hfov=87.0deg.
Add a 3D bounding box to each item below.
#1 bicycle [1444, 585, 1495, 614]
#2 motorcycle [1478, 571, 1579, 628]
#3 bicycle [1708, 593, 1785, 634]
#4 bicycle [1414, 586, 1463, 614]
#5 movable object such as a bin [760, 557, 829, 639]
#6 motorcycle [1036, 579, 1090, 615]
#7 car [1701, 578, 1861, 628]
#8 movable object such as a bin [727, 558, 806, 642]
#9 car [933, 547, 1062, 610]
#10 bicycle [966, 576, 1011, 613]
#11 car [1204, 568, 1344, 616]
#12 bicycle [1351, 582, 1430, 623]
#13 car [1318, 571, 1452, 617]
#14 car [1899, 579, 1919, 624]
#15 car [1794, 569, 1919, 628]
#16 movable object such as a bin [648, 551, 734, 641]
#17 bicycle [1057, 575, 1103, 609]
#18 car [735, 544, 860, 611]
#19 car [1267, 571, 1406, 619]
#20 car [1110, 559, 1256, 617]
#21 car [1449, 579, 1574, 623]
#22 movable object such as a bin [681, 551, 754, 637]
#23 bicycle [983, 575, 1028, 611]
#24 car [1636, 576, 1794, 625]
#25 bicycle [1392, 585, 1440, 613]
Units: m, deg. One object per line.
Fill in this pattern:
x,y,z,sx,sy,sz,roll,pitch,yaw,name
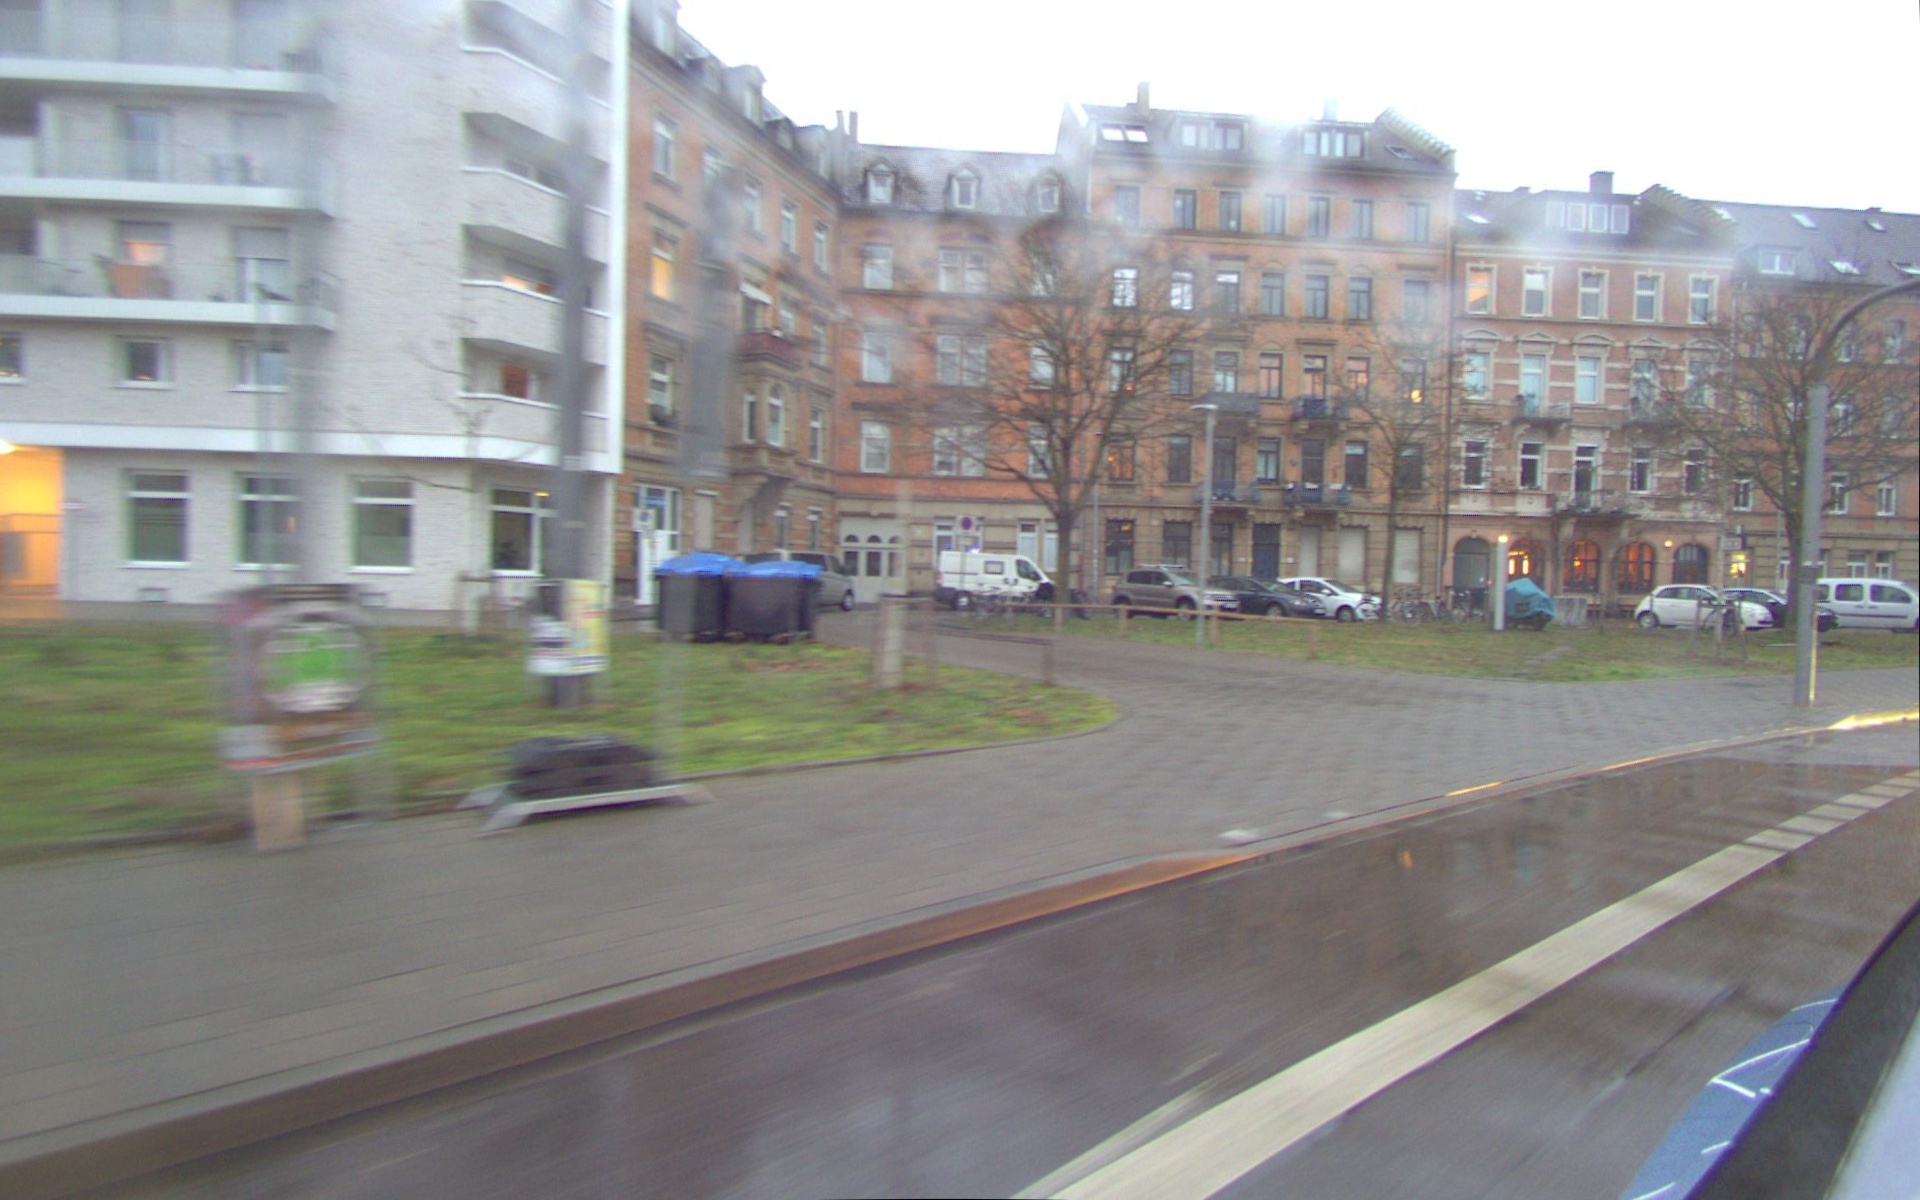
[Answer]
16.601,-0.023,32.995,0.386,0.827,1.800,1,3,-14,bicycle
15.603,-0.051,27.866,0.866,1.362,2.365,0,4,-20,motorcycle
20.758,0.347,26.752,0.437,0.942,1.799,1,3,-6,bicycle
15.448,0.000,32.720,0.436,0.787,1.800,1,3,-11,bicycle
-3.143,-0.055,19.347,1.119,1.504,1.053,1,1,1,movable object such as a bin
2.956,-0.100,29.216,0.503,0.942,1.797,0,4,-34,motorcycle
26.337,0.064,32.573,1.492,1.454,3.690,0,2,-33,car
-3.464,-0.015,18.240,1.202,1.450,1.053,1,1,1,movable object such as a bin
1.378,-0.820,38.281,4.567,2.216,2.003,1,1,-6,car
0.804,-0.171,29.157,0.437,0.942,1.799,0,3,-28,bicycle
9.247,-0.269,30.059,1.709,1.322,3.689,0,2,-35,car
11.823,0.055,27.828,1.881,1.031,0.534,3,3,16,bicycle
13.442,-0.221,32.183,1.492,1.322,3.689,0,2,-35,car
32.580,0.116,31.956,1.667,1.462,3.970,1,2,-29,car
29.572,-0.067,32.204,1.747,1.790,4.347,0,2,-34,car
-4.776,-0.085,18.043,1.229,1.529,1.053,1,1,1,movable object such as a bin
3.683,-0.251,31.130,0.437,0.942,1.799,0,3,-28,bicycle
-5.131,-0.728,32.687,1.920,1.966,4.565,2,2,22,car
11.414,-0.183,30.855,1.637,1.322,3.689,0,2,-35,car
6.545,-0.407,30.065,1.709,1.589,4.158,0,2,-35,car
18.206,0.001,33.492,1.492,1.322,3.303,0,2,-33,car
-4.649,-0.130,19.489,1.119,1.595,1.053,1,1,1,movable object such as a bin
1.304,-0.227,29.442,0.437,0.942,1.799,0,3,-28,bicycle
23.731,-0.018,31.929,1.492,1.417,3.690,0,2,-33,car
14.773,-0.051,32.809,0.436,0.804,1.800,1,3,-11,bicycle
